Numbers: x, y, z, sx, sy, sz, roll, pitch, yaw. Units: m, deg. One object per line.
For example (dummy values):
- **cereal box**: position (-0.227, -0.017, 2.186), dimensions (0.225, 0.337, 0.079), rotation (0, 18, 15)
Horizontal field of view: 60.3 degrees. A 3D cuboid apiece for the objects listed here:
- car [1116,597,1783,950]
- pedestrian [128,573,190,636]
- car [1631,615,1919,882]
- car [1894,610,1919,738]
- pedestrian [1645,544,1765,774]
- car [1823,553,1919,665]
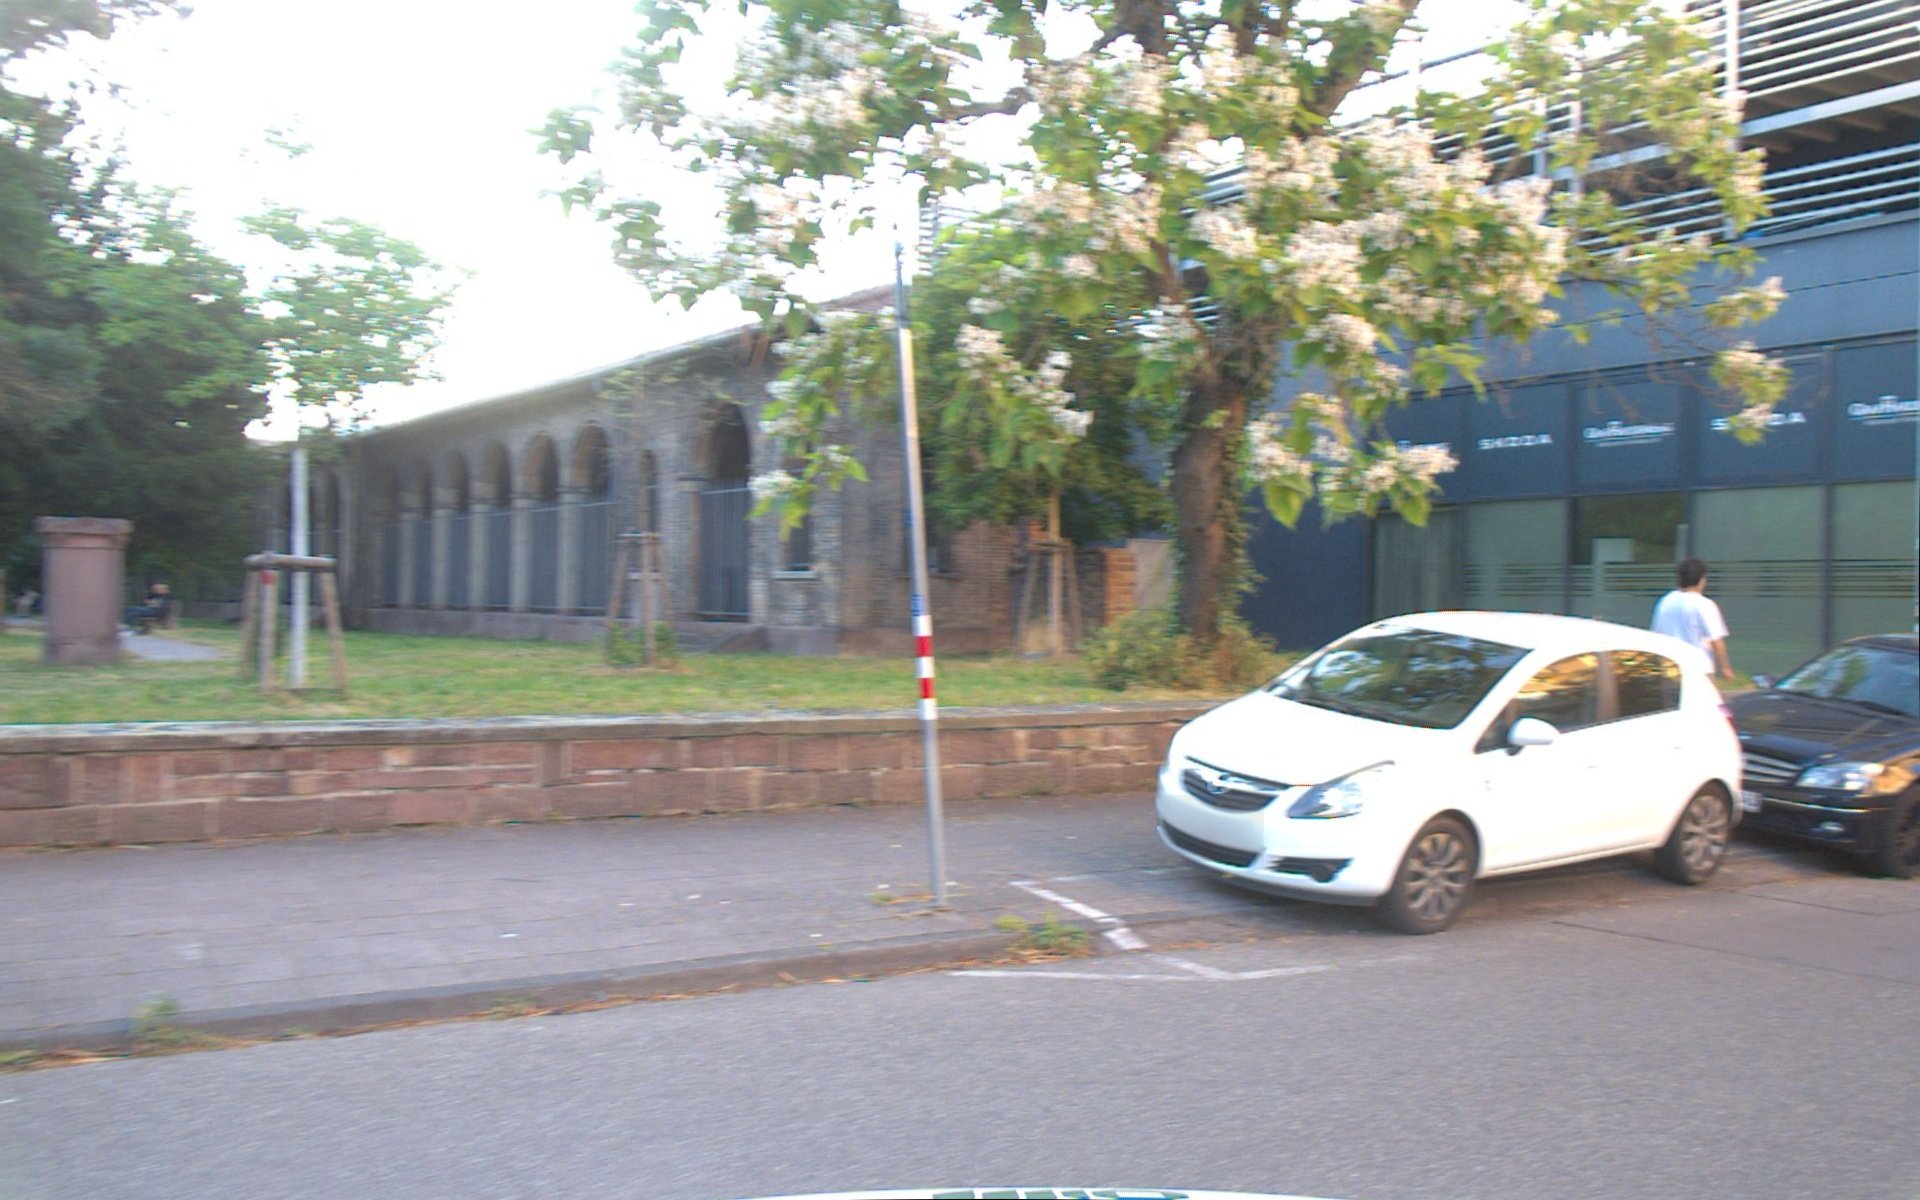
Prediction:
- **car**: position (2.892, 0.803, 9.472), dimensions (3.841, 1.540, 1.646), rotation (0, 3, -36)
- **pedestrian**: position (-18.933, 0.095, 39.139), dimensions (1.260, 1.451, 1.228), rotation (0, 0, -24)
- **car**: position (6.906, 0.907, 11.731), dimensions (4.355, 1.440, 1.651), rotation (0, 5, -31)
- **car**: position (14.535, 0.980, 22.413), dimensions (3.823, 1.679, 1.582), rotation (0, -1, -31)
- **pedestrian**: position (6.389, 0.491, 14.206), dimensions (0.611, 1.911, 0.716), rotation (0, 0, -28)
- **car**: position (15.716, 0.149, 26.478), dimensions (3.687, 1.687, 1.686), rotation (0, -1, -30)
